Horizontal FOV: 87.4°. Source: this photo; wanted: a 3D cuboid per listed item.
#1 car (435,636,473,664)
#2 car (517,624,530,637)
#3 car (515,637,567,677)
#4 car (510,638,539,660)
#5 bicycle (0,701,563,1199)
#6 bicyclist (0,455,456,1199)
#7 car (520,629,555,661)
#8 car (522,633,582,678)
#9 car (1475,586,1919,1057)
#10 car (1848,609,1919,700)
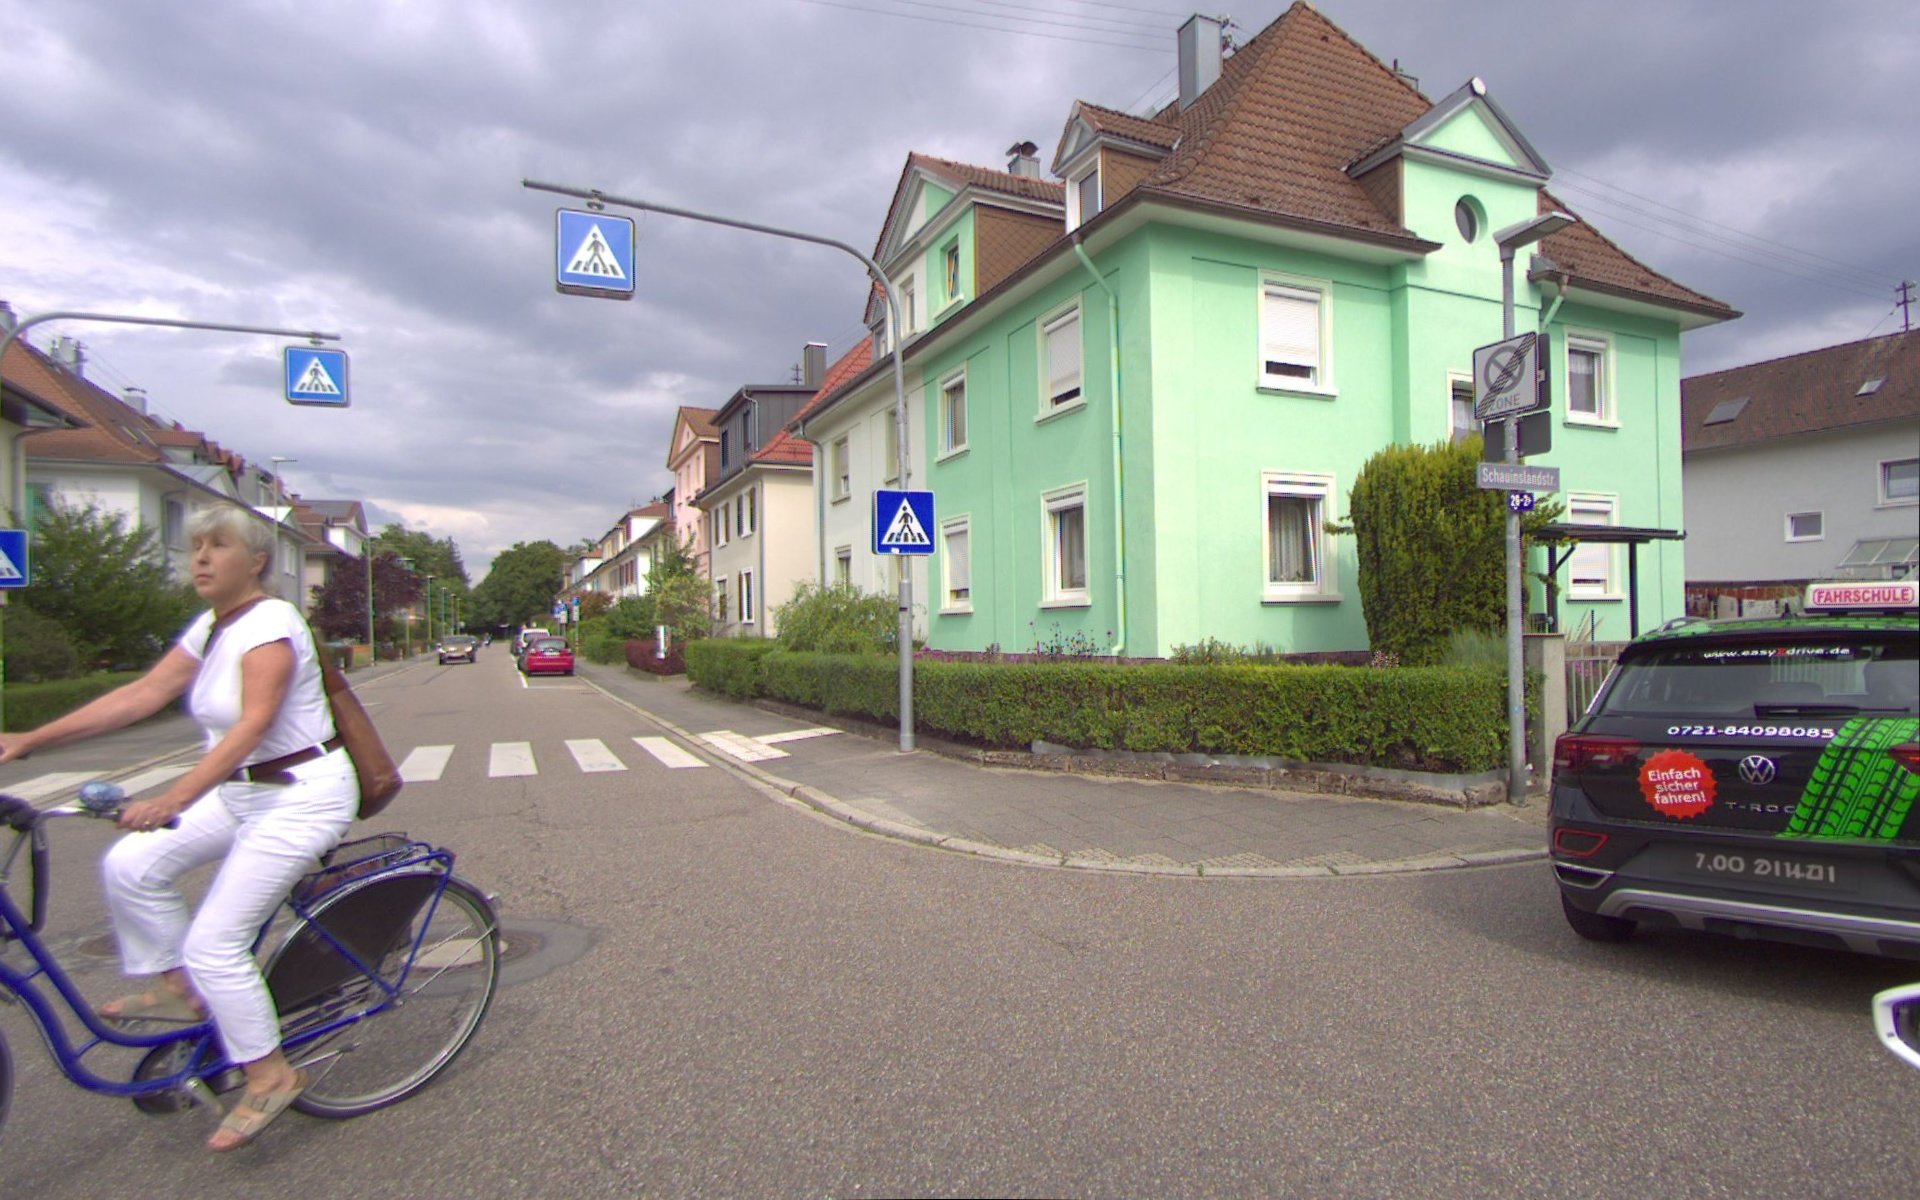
[{"bbox_3d":[-28.692,2.811,57.056,1.812,1.505,3.975,1,-2,-26],"label":"car"},{"bbox_3d":[-70.374,4.976,161.902,1.973,2.040,3.977,1,-2,-24],"label":"car"},{"bbox_3d":[-18.274,2.452,43.711,1.973,1.595,3.976,-1,-2,-25],"label":"car"},{"bbox_3d":[-33.839,3.767,78.011,1.973,1.595,3.976,-1,-2,-25],"label":"car"},{"bbox_3d":[-2.051,0.938,2.534,0.696,1.167,1.867,-1,0,35],"label":"bicycle"},{"bbox_3d":[-1.990,0.548,2.633,0.687,1.688,0.972,-1,0,35],"label":"bicyclist"},{"bbox_3d":[-27.247,2.871,64.710,1.973,1.929,3.976,-1,-2,-25],"label":"car"},{"bbox_3d":[-15.924,2.117,39.083,1.973,1.595,3.976,-1,-2,-25],"label":"car"},{"bbox_3d":[4.335,0.778,4.988,4.012,1.540,1.801,1,-3,-41],"label":"car"},{"bbox_3d":[17.158,0.893,16.466,1.568,1.520,3.557,0,-2,-28],"label":"car"}]
